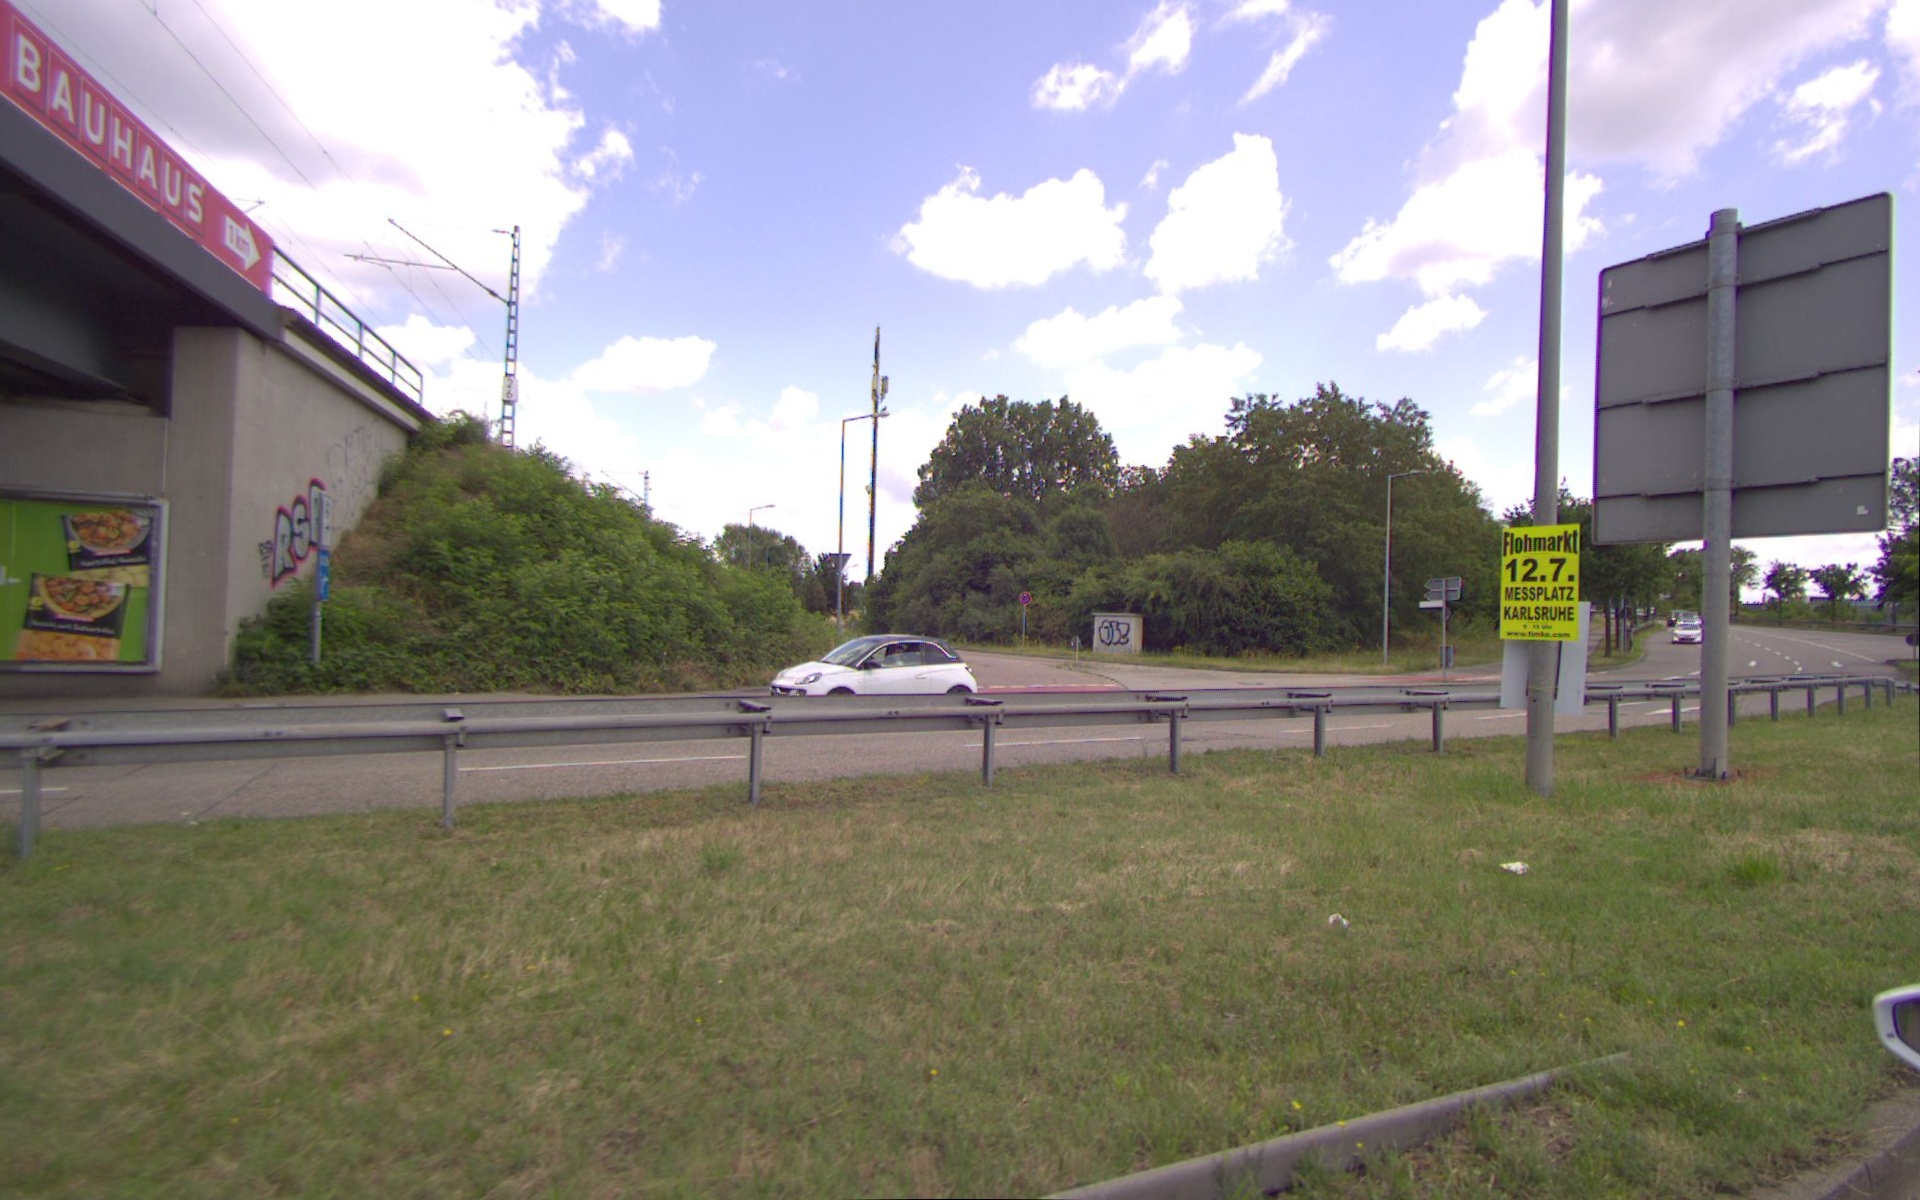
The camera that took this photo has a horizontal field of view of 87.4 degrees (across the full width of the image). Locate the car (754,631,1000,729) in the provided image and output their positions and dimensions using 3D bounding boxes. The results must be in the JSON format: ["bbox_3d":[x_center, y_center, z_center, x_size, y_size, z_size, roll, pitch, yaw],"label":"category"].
[{"bbox_3d":[-1.427,1.333,17.654,3.955,1.530,1.743,2,-1,-31],"label":"car"}]

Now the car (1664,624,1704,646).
[{"bbox_3d":[51.711,2.515,71.716,1.971,1.552,4.311,-2,-3,40],"label":"car"}]
